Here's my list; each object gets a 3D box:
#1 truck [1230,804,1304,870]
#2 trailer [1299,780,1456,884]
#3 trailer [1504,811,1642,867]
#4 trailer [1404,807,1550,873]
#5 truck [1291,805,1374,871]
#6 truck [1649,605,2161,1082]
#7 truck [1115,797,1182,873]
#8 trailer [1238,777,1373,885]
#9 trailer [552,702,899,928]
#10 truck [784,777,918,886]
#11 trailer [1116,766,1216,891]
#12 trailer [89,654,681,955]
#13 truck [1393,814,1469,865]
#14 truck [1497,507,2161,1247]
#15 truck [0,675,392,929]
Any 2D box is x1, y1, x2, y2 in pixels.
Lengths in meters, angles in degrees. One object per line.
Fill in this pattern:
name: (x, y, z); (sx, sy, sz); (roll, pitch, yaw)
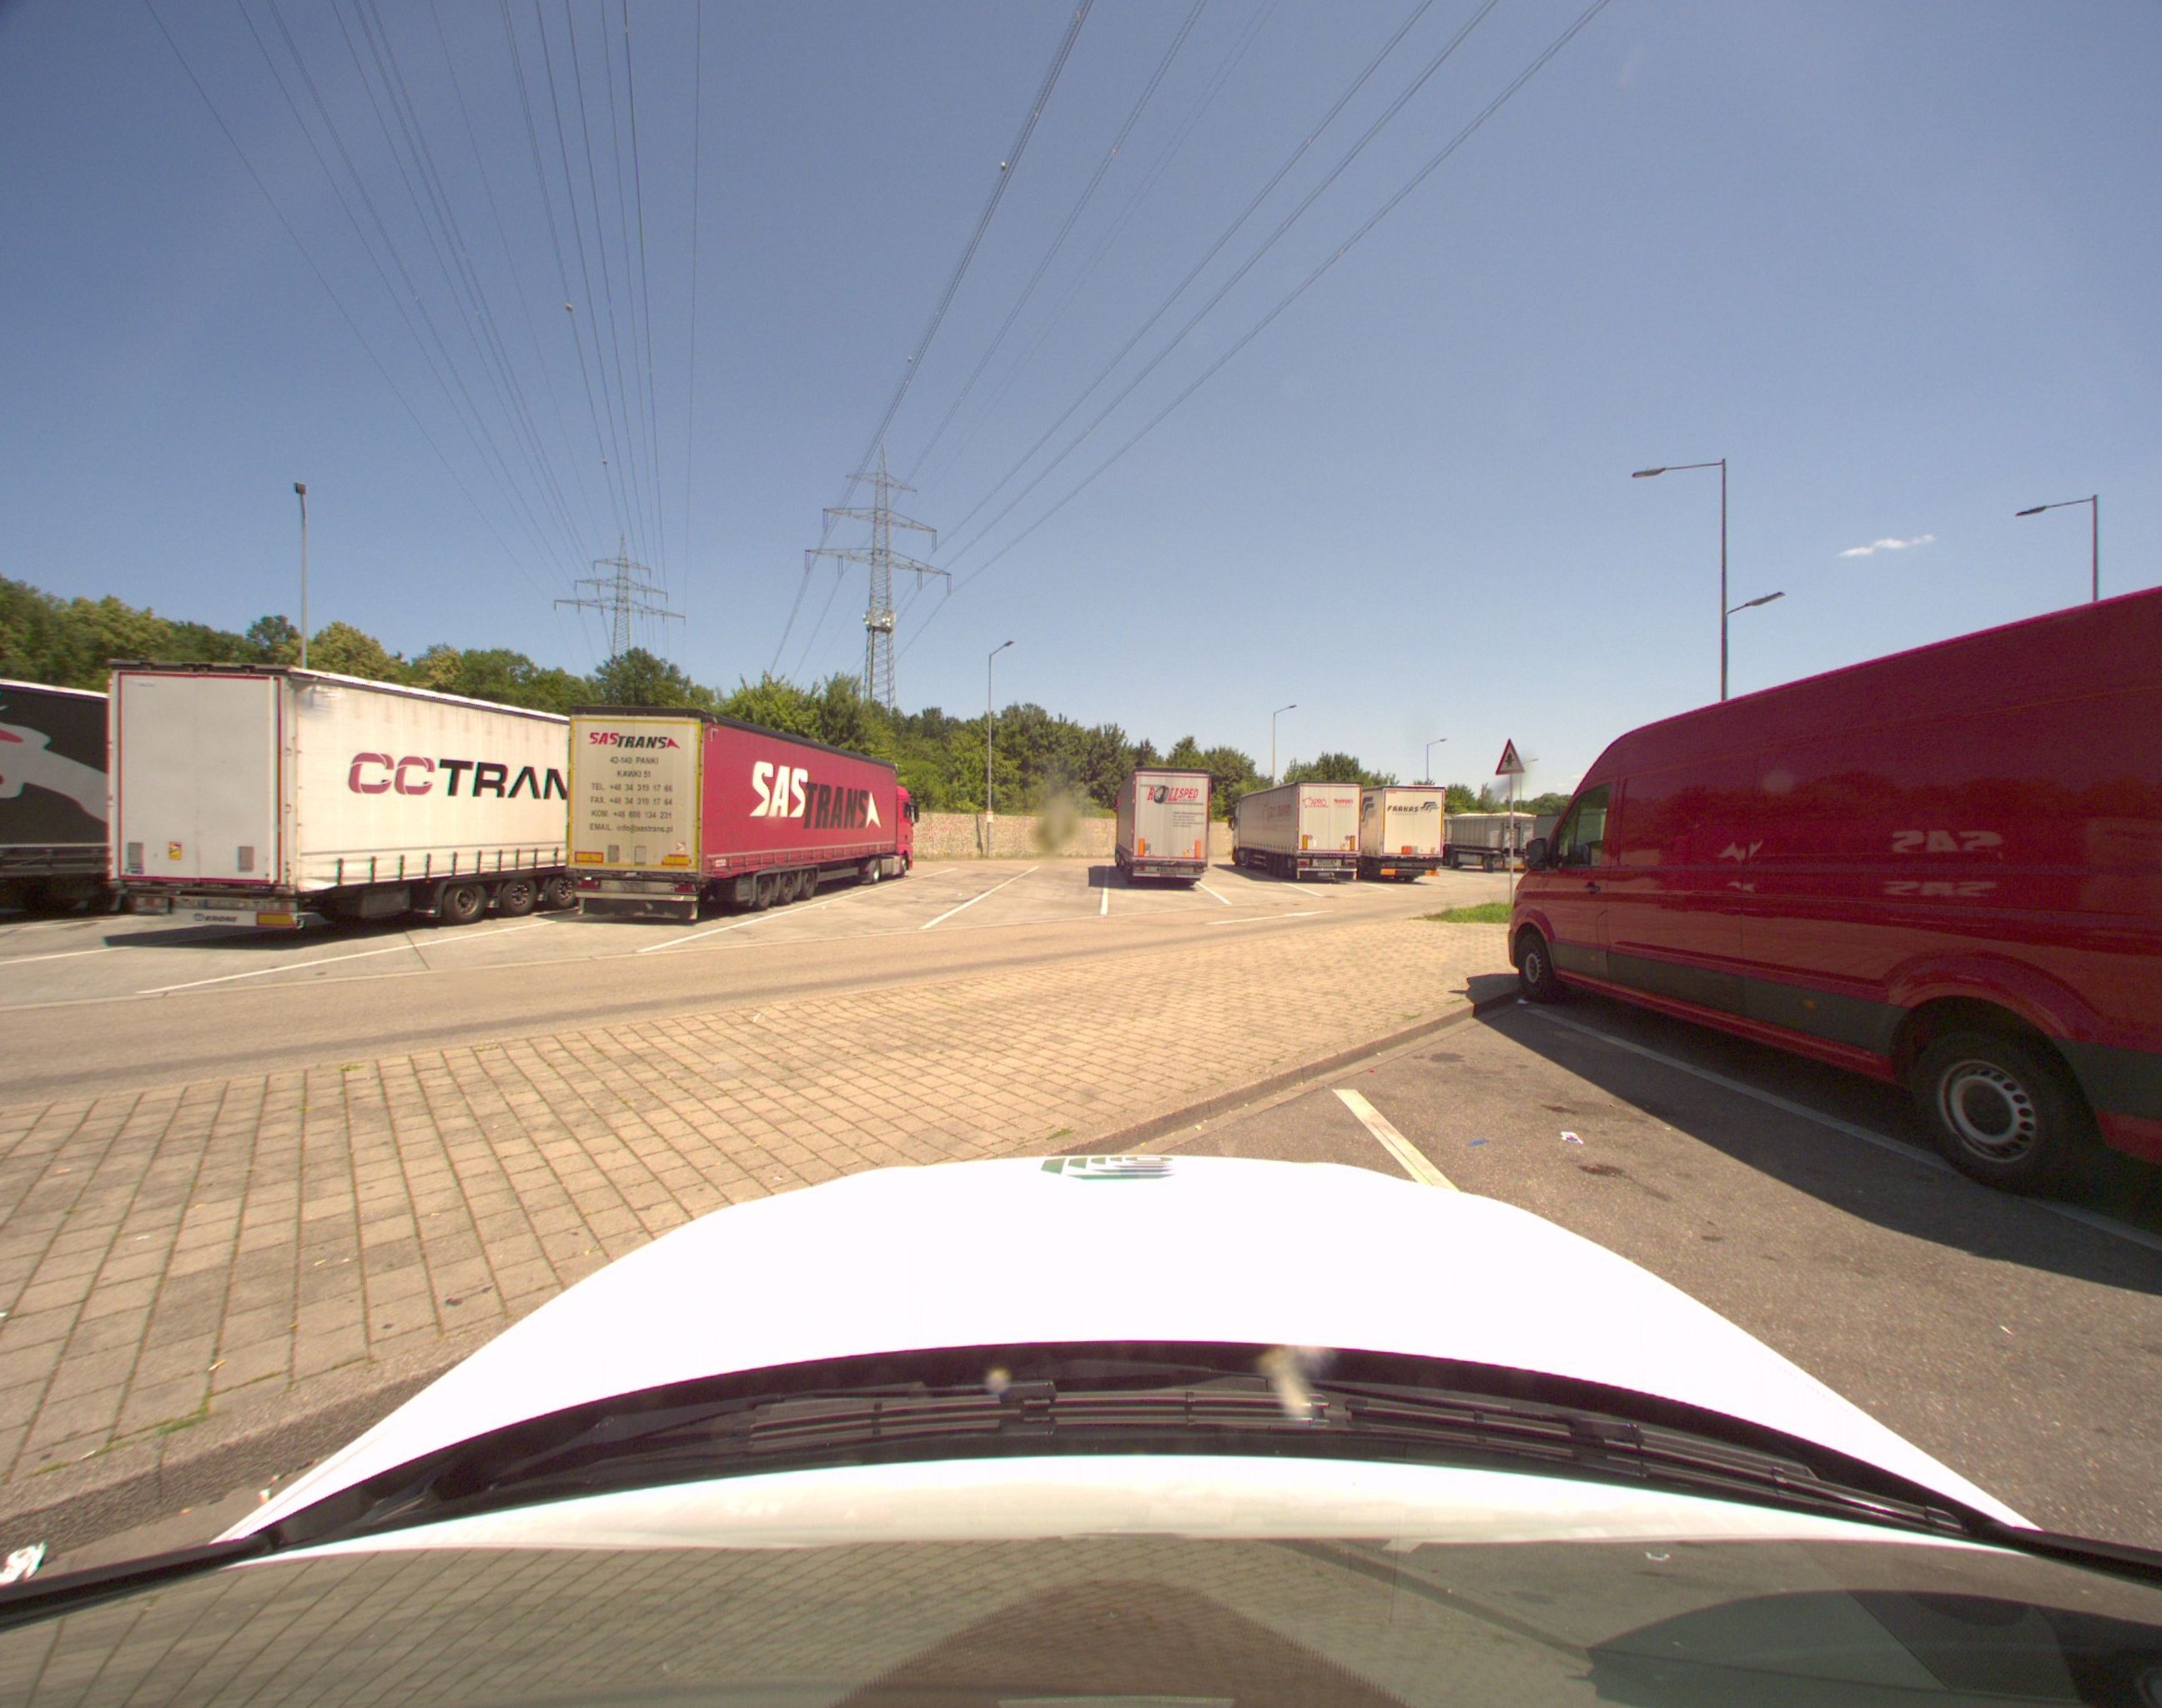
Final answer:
truck: (10.174, -0.973, 45.079); (2.855, 3.362, 5.977); (1, 2, 2)
trailer: (13.606, -1.090, 39.241); (2.847, 4.109, 13.770); (1, 2, 2)
trailer: (38.209, -1.286, 64.207); (2.847, 3.904, 13.770); (1, 2, 2)
trailer: (24.434, -0.987, 51.520); (2.847, 3.599, 13.770); (1, 2, 2)
truck: (13.771, -0.901, 45.068); (2.855, 3.362, 5.977); (1, 2, 2)
truck: (8.011, -0.070, 6.900); (2.406, 2.906, 6.466); (-1, 0, 6)
truck: (3.136, -0.936, 39.424); (2.855, 3.362, 5.977); (1, 2, 2)
trailer: (9.978, -1.116, 38.315); (2.847, 4.109, 13.770); (1, 2, 2)
trailer: (-8.043, -0.927, 21.736); (2.811, 4.070, 13.770); (1, 2, 2)
truck: (-7.831, -0.794, 28.552); (2.801, 3.362, 5.977); (1, 2, 2)
trailer: (3.048, -1.046, 33.222); (2.848, 3.971, 13.767); (1, 2, 1)
trailer: (-12.155, -0.842, 16.430); (2.696, 4.101, 10.395); (1, 2, 2)
truck: (24.617, -1.075, 57.617); (2.855, 3.362, 5.977); (1, 2, 2)
truck: (5.152, 0.080, 5.466); (2.001, 2.651, 6.466); (-1, 0, 6)
truck: (-18.543, -0.940, 15.835); (2.696, 4.070, 8.693); (1, 2, 2)
